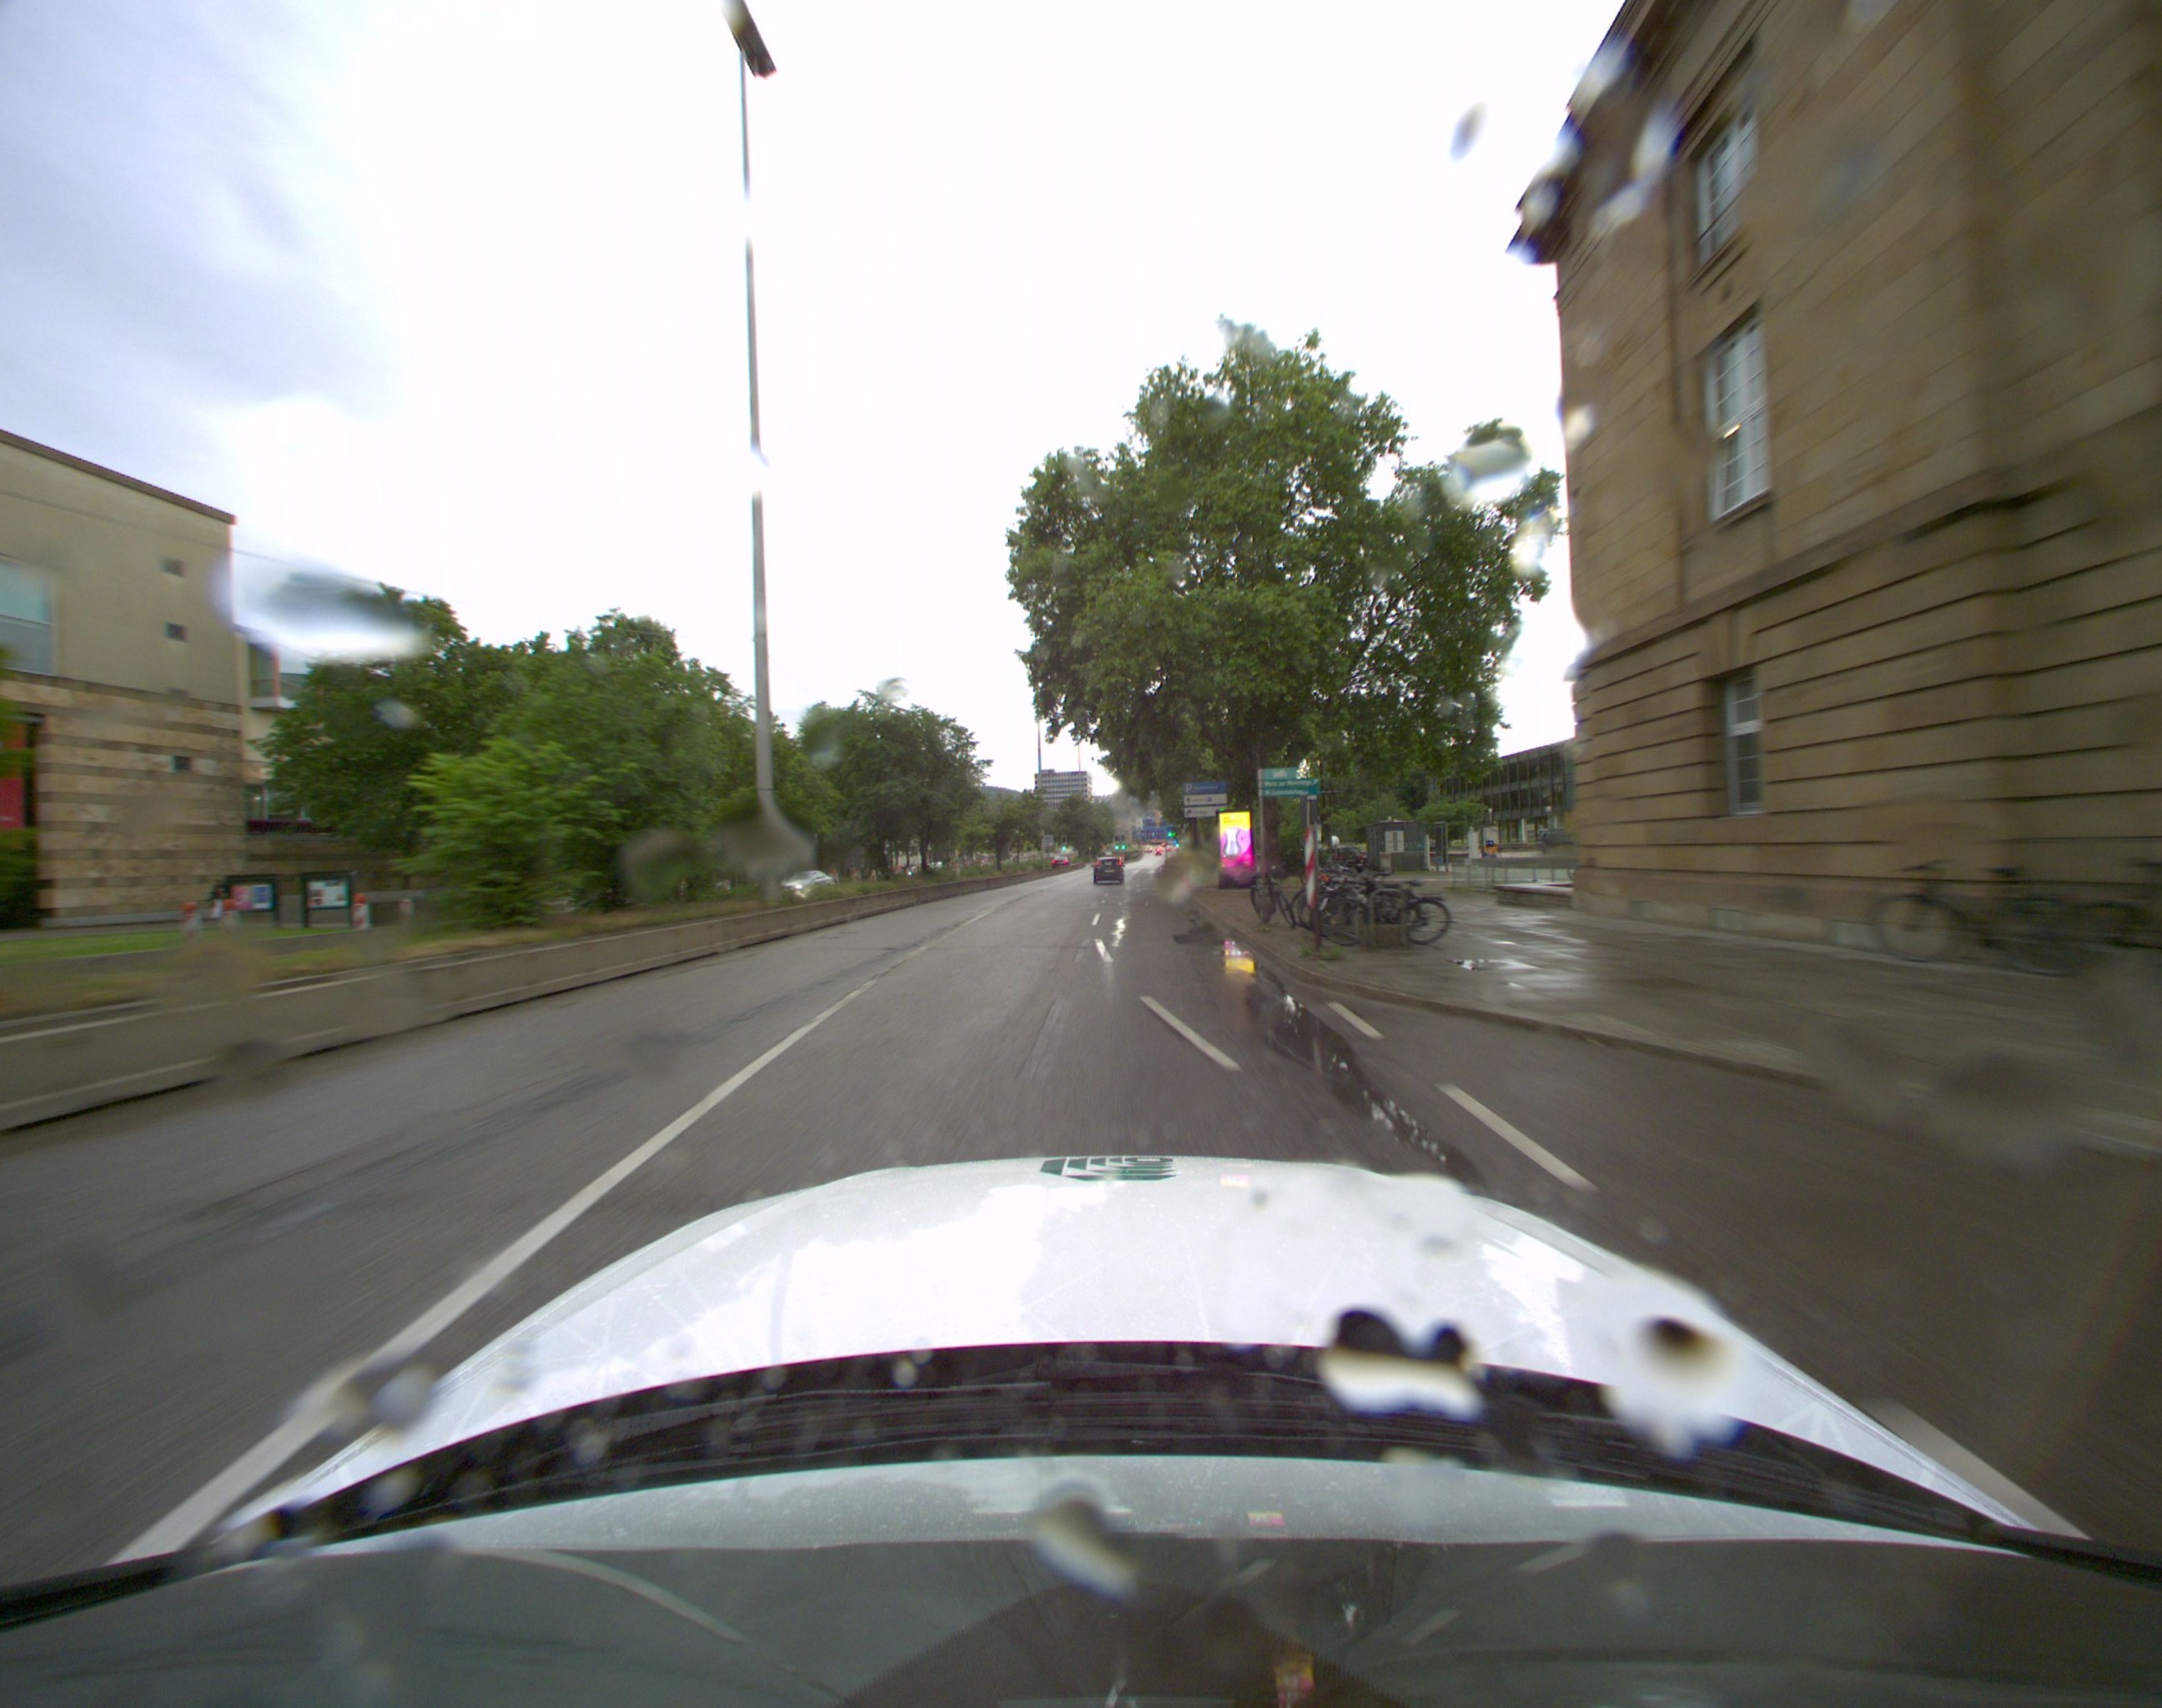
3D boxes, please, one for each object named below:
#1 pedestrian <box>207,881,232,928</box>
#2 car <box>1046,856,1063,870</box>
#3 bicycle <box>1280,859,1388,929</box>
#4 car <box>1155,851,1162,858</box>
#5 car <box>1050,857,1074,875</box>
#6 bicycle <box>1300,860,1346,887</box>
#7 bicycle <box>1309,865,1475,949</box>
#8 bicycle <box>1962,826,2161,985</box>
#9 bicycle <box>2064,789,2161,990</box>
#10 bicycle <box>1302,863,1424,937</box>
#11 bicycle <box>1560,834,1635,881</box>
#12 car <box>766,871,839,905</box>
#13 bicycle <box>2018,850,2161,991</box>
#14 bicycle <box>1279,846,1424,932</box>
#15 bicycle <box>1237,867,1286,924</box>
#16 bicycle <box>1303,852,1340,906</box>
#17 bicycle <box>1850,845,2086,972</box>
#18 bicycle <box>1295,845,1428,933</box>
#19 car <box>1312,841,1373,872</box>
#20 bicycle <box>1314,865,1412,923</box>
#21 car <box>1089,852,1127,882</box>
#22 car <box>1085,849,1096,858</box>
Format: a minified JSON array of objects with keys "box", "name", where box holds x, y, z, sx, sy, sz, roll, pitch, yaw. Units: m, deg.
[{"box":[-37.658,2.194,35.596,0.475,2.014,0.512,-4,-2,4],"name":"pedestrian"},{"box":[-3.078,1.007,94.396,1.749,1.451,3.999,3,0,0],"name":"car"},{"box":[4.345,0.682,14.087,1.671,1.122,0.602,-2,0,5],"name":"bicycle"},{"box":[22.065,0.236,232.646,1.730,1.771,4.007,-4,-1,7],"name":"car"},{"box":[-2.031,1.304,87.592,1.983,1.781,4.007,-3,0,6],"name":"car"},{"box":[9.279,0.753,31.215,1.631,1.020,0.576,0,-1,8],"name":"bicycle"},{"box":[4.268,0.712,11.284,1.978,1.060,0.759,-2,-1,0],"name":"bicycle"},{"box":[8.728,0.407,7.073,0.452,1.251,1.600,0,0,2],"name":"bicycle"},{"box":[8.362,0.266,5.945,0.452,1.515,1.600,0,0,2],"name":"bicycle"},{"box":[4.391,0.708,12.772,1.671,1.090,0.651,-2,-1,5],"name":"bicycle"},{"box":[19.388,0.143,30.600,2.310,1.667,0.774,-1,-2,-3],"name":"bicycle"},{"box":[-15.551,1.868,45.776,1.984,1.625,4.815,-4,-1,6],"name":"car"},{"box":[8.482,0.510,6.344,0.350,1.080,1.790,-1,-1,3],"name":"bicycle"},{"box":[4.489,0.580,13.620,2.180,1.336,0.651,-2,-1,5],"name":"bicycle"},{"box":[3.369,0.754,15.114,0.663,0.967,1.645,-2,-1,19],"name":"bicycle"},{"box":[5.738,0.587,19.517,0.601,1.197,1.910,-4,-1,11],"name":"bicycle"},{"box":[8.540,0.489,7.963,0.350,1.080,1.790,-4,-1,3],"name":"bicycle"},{"box":[4.496,0.562,13.165,1.897,1.332,0.651,-2,-1,5],"name":"bicycle"},{"box":[14.661,0.098,46.024,1.985,1.609,5.240,-2,1,3],"name":"car"},{"box":[5.098,0.718,14.783,1.581,0.994,0.525,-2,-1,5],"name":"bicycle"},{"box":[1.456,0.726,44.666,1.839,1.416,3.837,-4,-1,-1],"name":"car"},{"box":[1.796,-0.109,156.412,1.987,1.632,4.000,-2,-1,1],"name":"car"}]
